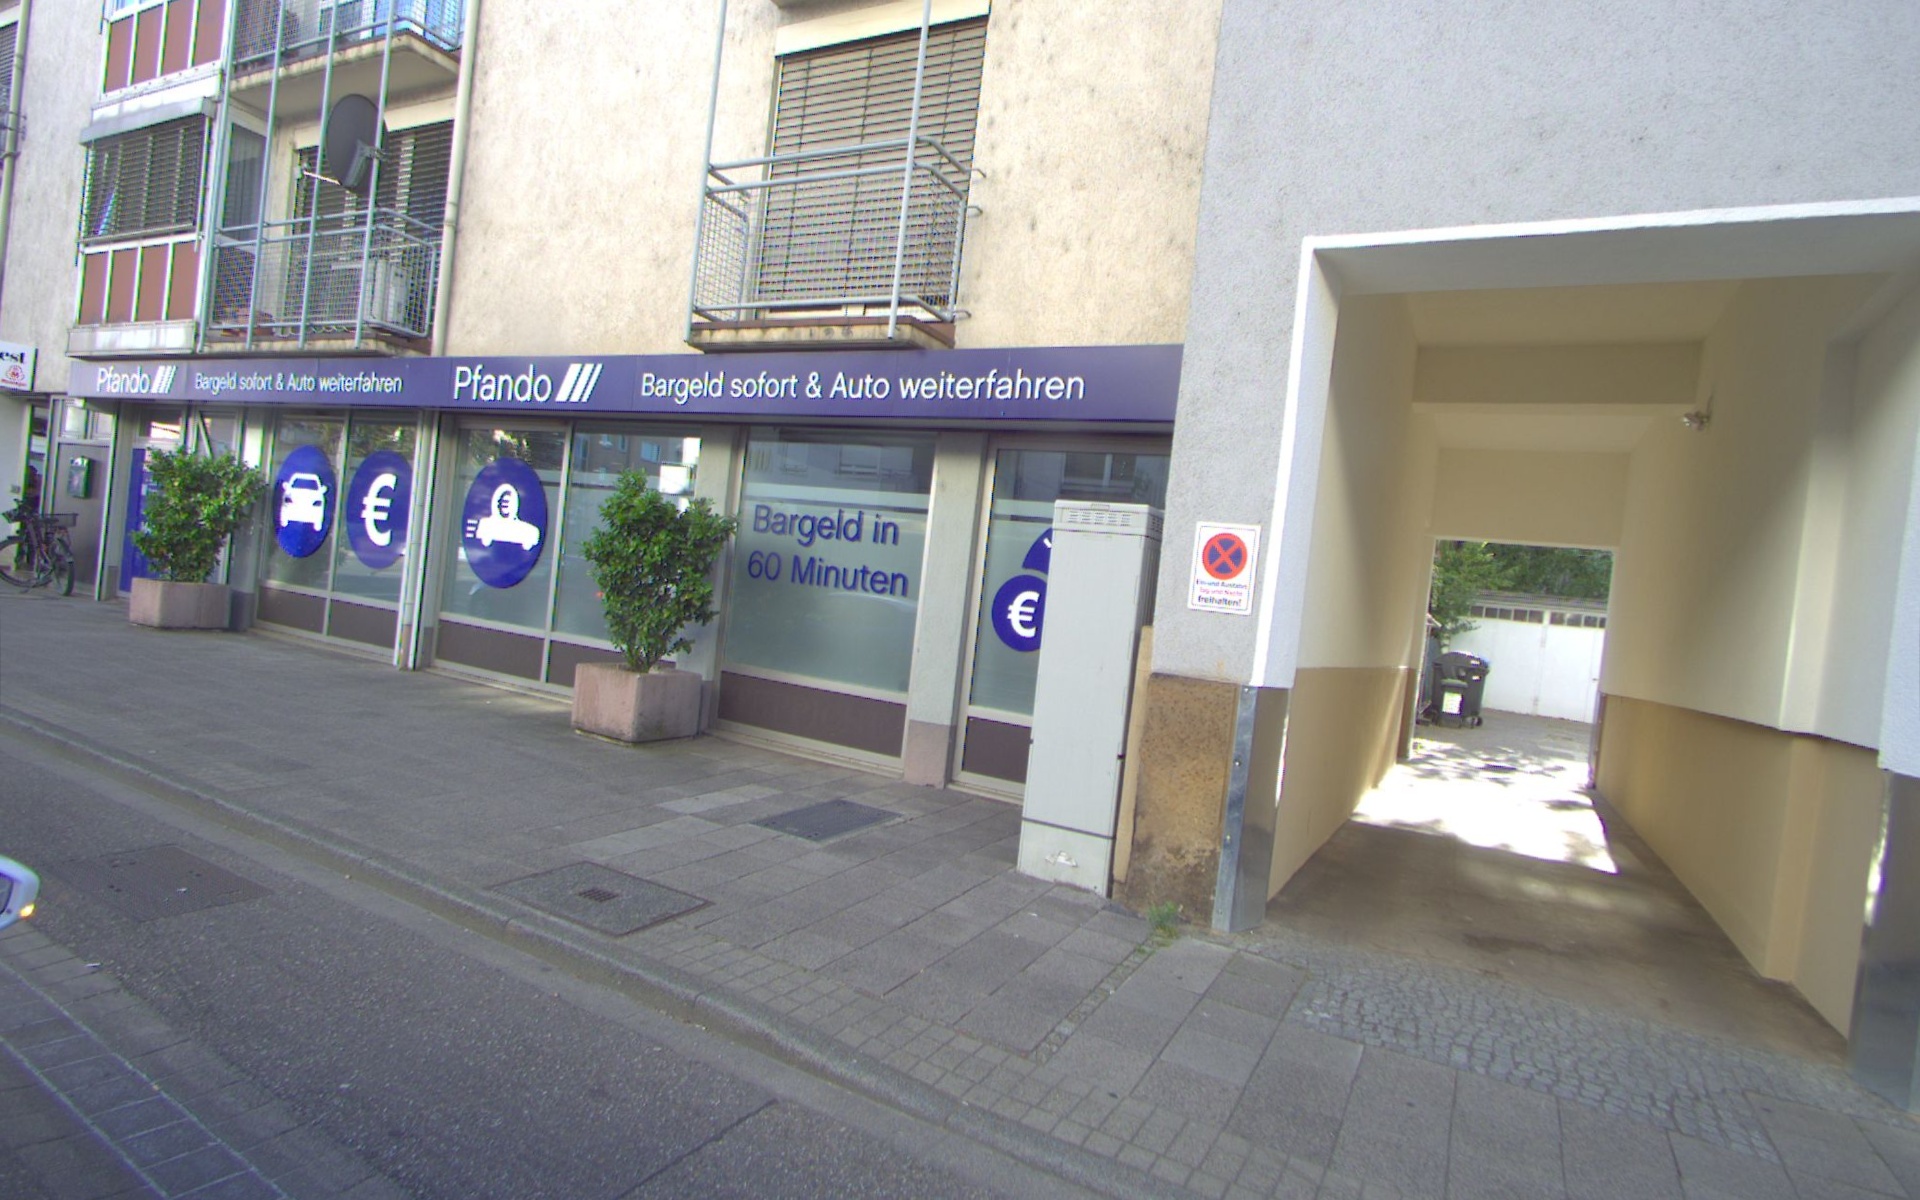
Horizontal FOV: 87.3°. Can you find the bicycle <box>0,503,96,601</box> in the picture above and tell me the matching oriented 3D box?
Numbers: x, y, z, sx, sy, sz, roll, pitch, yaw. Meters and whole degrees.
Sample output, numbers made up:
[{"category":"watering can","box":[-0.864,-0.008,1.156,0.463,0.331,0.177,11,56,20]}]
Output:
[{"category":"bicycle","box":[-11.847,-0.638,12.870,1.779,1.086,0.531,7,1,28]}]
